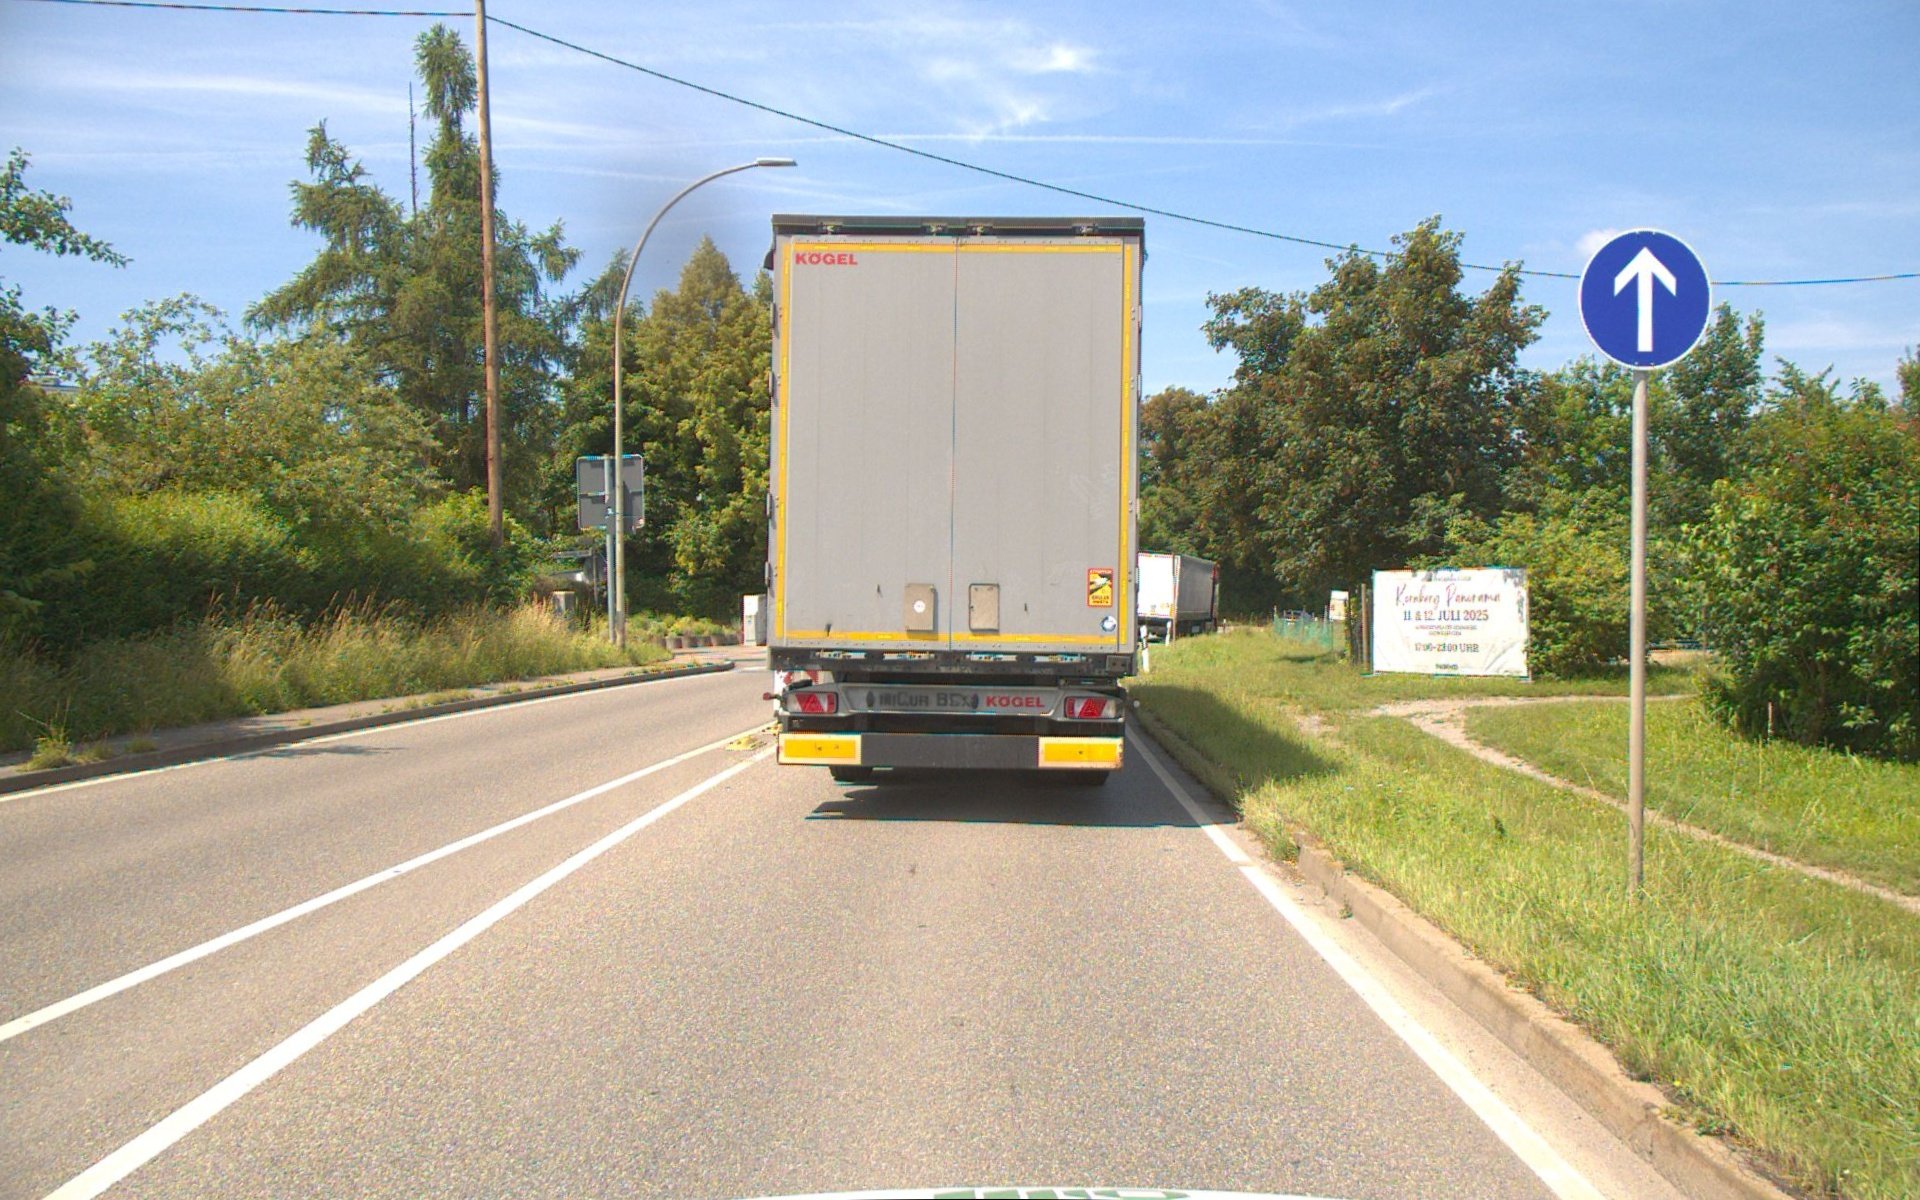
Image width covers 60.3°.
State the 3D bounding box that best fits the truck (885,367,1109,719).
[{"bbox_3d":[0.633,-0.727,23.078,2.688,4.238,6.146,0,1,3],"label":"truck"}]

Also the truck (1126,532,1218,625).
[{"bbox_3d":[11.210,-1.085,86.747,3.853,4.655,7.157,0,0,15],"label":"truck"}]

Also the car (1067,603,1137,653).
[{"bbox_3d":[4.798,0.904,55.547,1.951,1.557,4.004,0,1,11],"label":"car"}]

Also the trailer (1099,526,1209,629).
[{"bbox_3d":[9.560,-0.992,80.031,3.808,4.600,12.723,0,0,13],"label":"trailer"}]

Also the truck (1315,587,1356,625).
[{"bbox_3d":[28.992,0.436,127.502,2.370,2.888,5.413,0,0,21],"label":"truck"}]

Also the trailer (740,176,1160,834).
[{"bbox_3d":[0.264,-0.693,16.877,2.728,4.278,12.116,0,1,3],"label":"trailer"}]

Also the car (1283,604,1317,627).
[{"bbox_3d":[23.808,1.057,115.746,1.803,1.512,4.001,0,1,20],"label":"car"}]
